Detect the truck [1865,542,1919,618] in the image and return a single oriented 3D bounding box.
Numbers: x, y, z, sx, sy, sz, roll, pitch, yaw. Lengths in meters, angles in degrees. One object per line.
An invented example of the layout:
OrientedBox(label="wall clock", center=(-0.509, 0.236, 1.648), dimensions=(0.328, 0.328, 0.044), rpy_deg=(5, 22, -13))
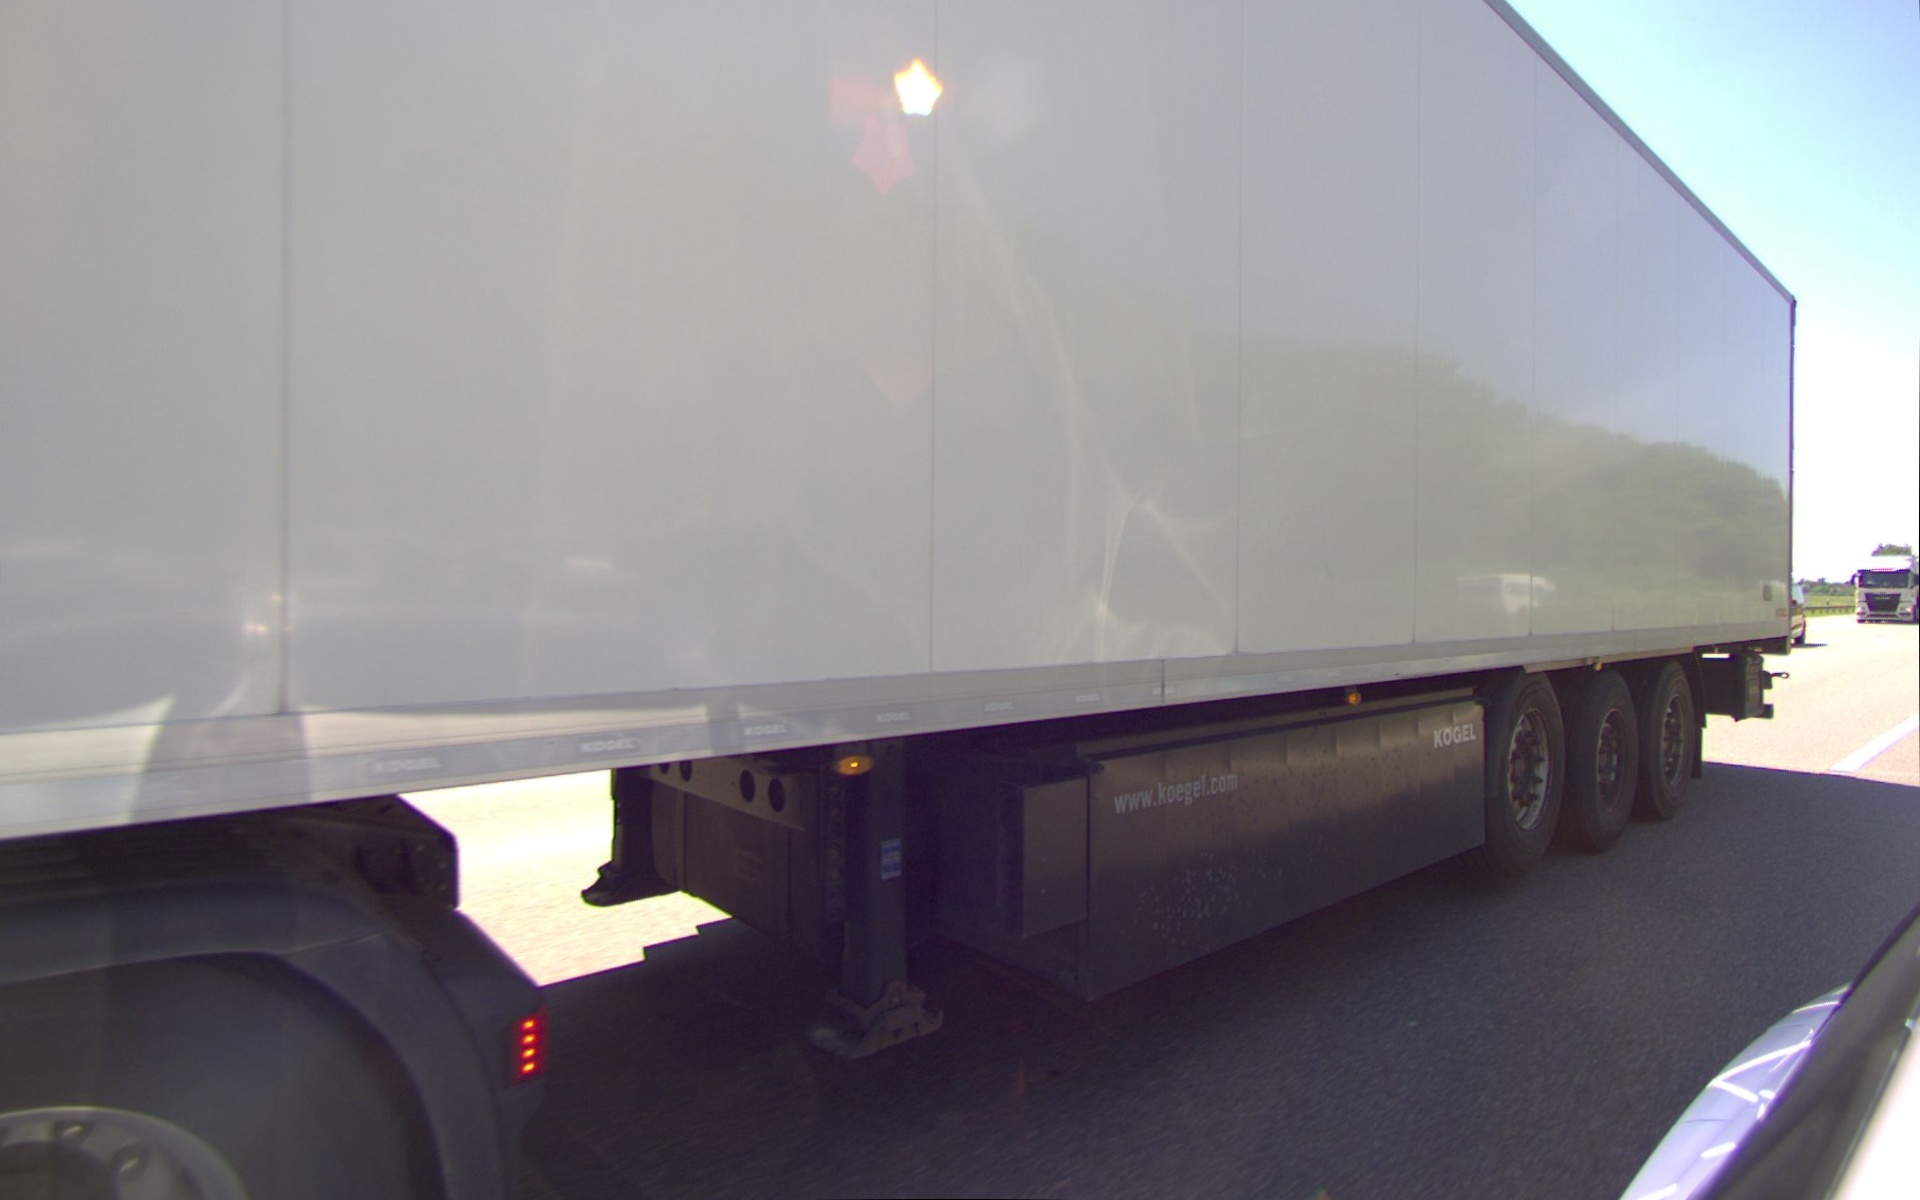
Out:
OrientedBox(label="truck", center=(54.784, -1.150, 58.830), dimensions=(4.917, 4.257, 2.793), rpy_deg=(0, 1, -44))

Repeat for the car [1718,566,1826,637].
OrientedBox(label="car", center=(25.382, 0.027, 31.562), dimensions=(5.429, 2.028, 1.858), rpy_deg=(0, 0, -43))

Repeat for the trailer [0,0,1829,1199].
OrientedBox(label="trailer", center=(1.823, -0.790, 5.890), dimensions=(12.137, 4.195, 3.229), rpy_deg=(0, 1, -41))

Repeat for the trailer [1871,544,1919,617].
OrientedBox(label="trailer", center=(60.045, -1.161, 63.924), dimensions=(12.147, 4.257, 2.793), rpy_deg=(0, 1, -44))
